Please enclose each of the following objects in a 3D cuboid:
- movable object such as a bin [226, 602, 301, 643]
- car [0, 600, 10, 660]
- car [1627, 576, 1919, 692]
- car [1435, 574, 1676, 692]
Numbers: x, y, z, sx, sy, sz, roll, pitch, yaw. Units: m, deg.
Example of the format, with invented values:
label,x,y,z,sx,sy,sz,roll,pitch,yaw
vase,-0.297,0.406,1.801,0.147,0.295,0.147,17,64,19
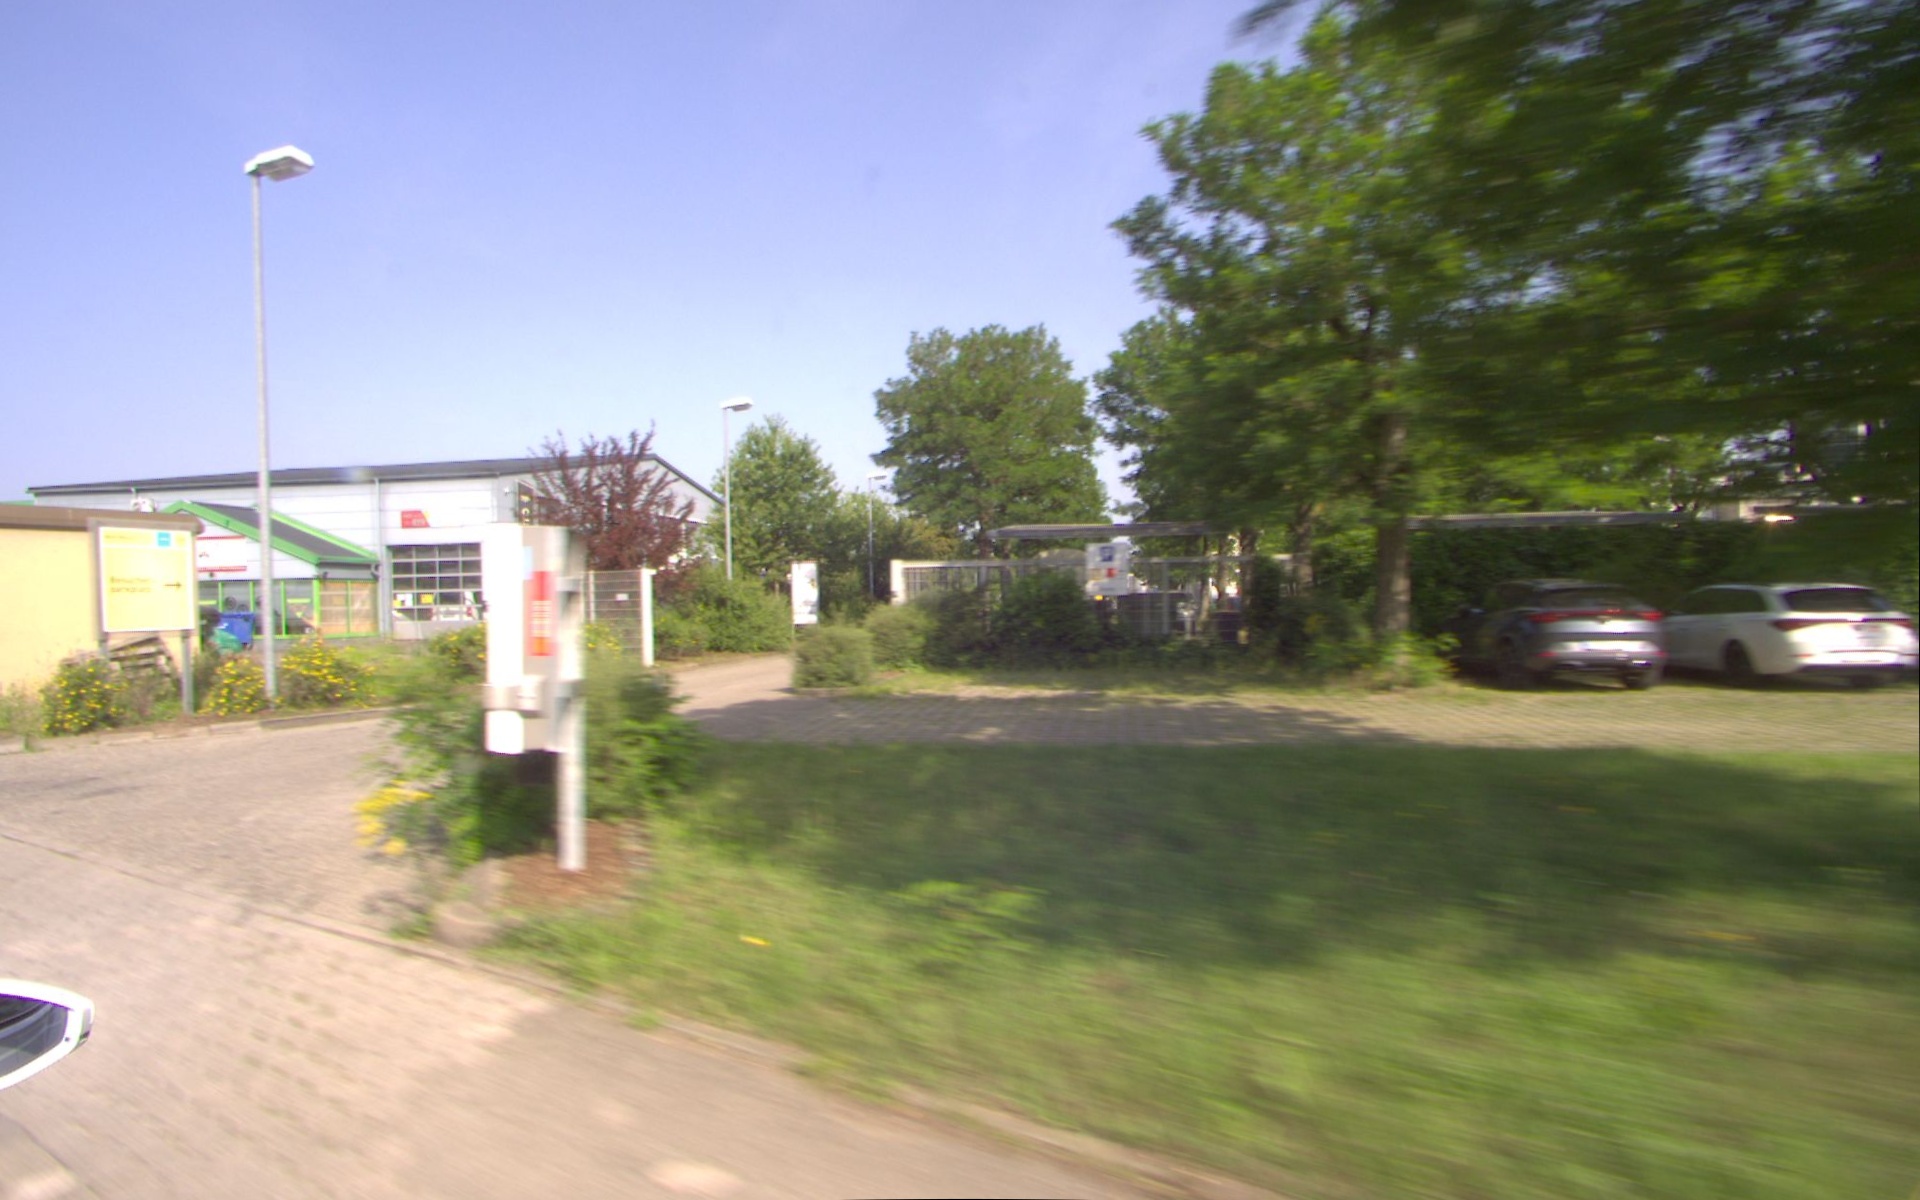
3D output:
label,x,y,z,sx,sy,sz,roll,pitch,yaw
movable object such as a bin,-23.987,0.764,34.513,1.970,1.364,0.999,0,1,9
car,-26.016,0.791,24.514,4.180,1.486,1.692,-1,1,7
car,11.442,0.420,14.344,1.709,1.424,4.038,-1,0,11
car,8.507,0.392,14.739,1.766,1.483,4.038,0,1,11
